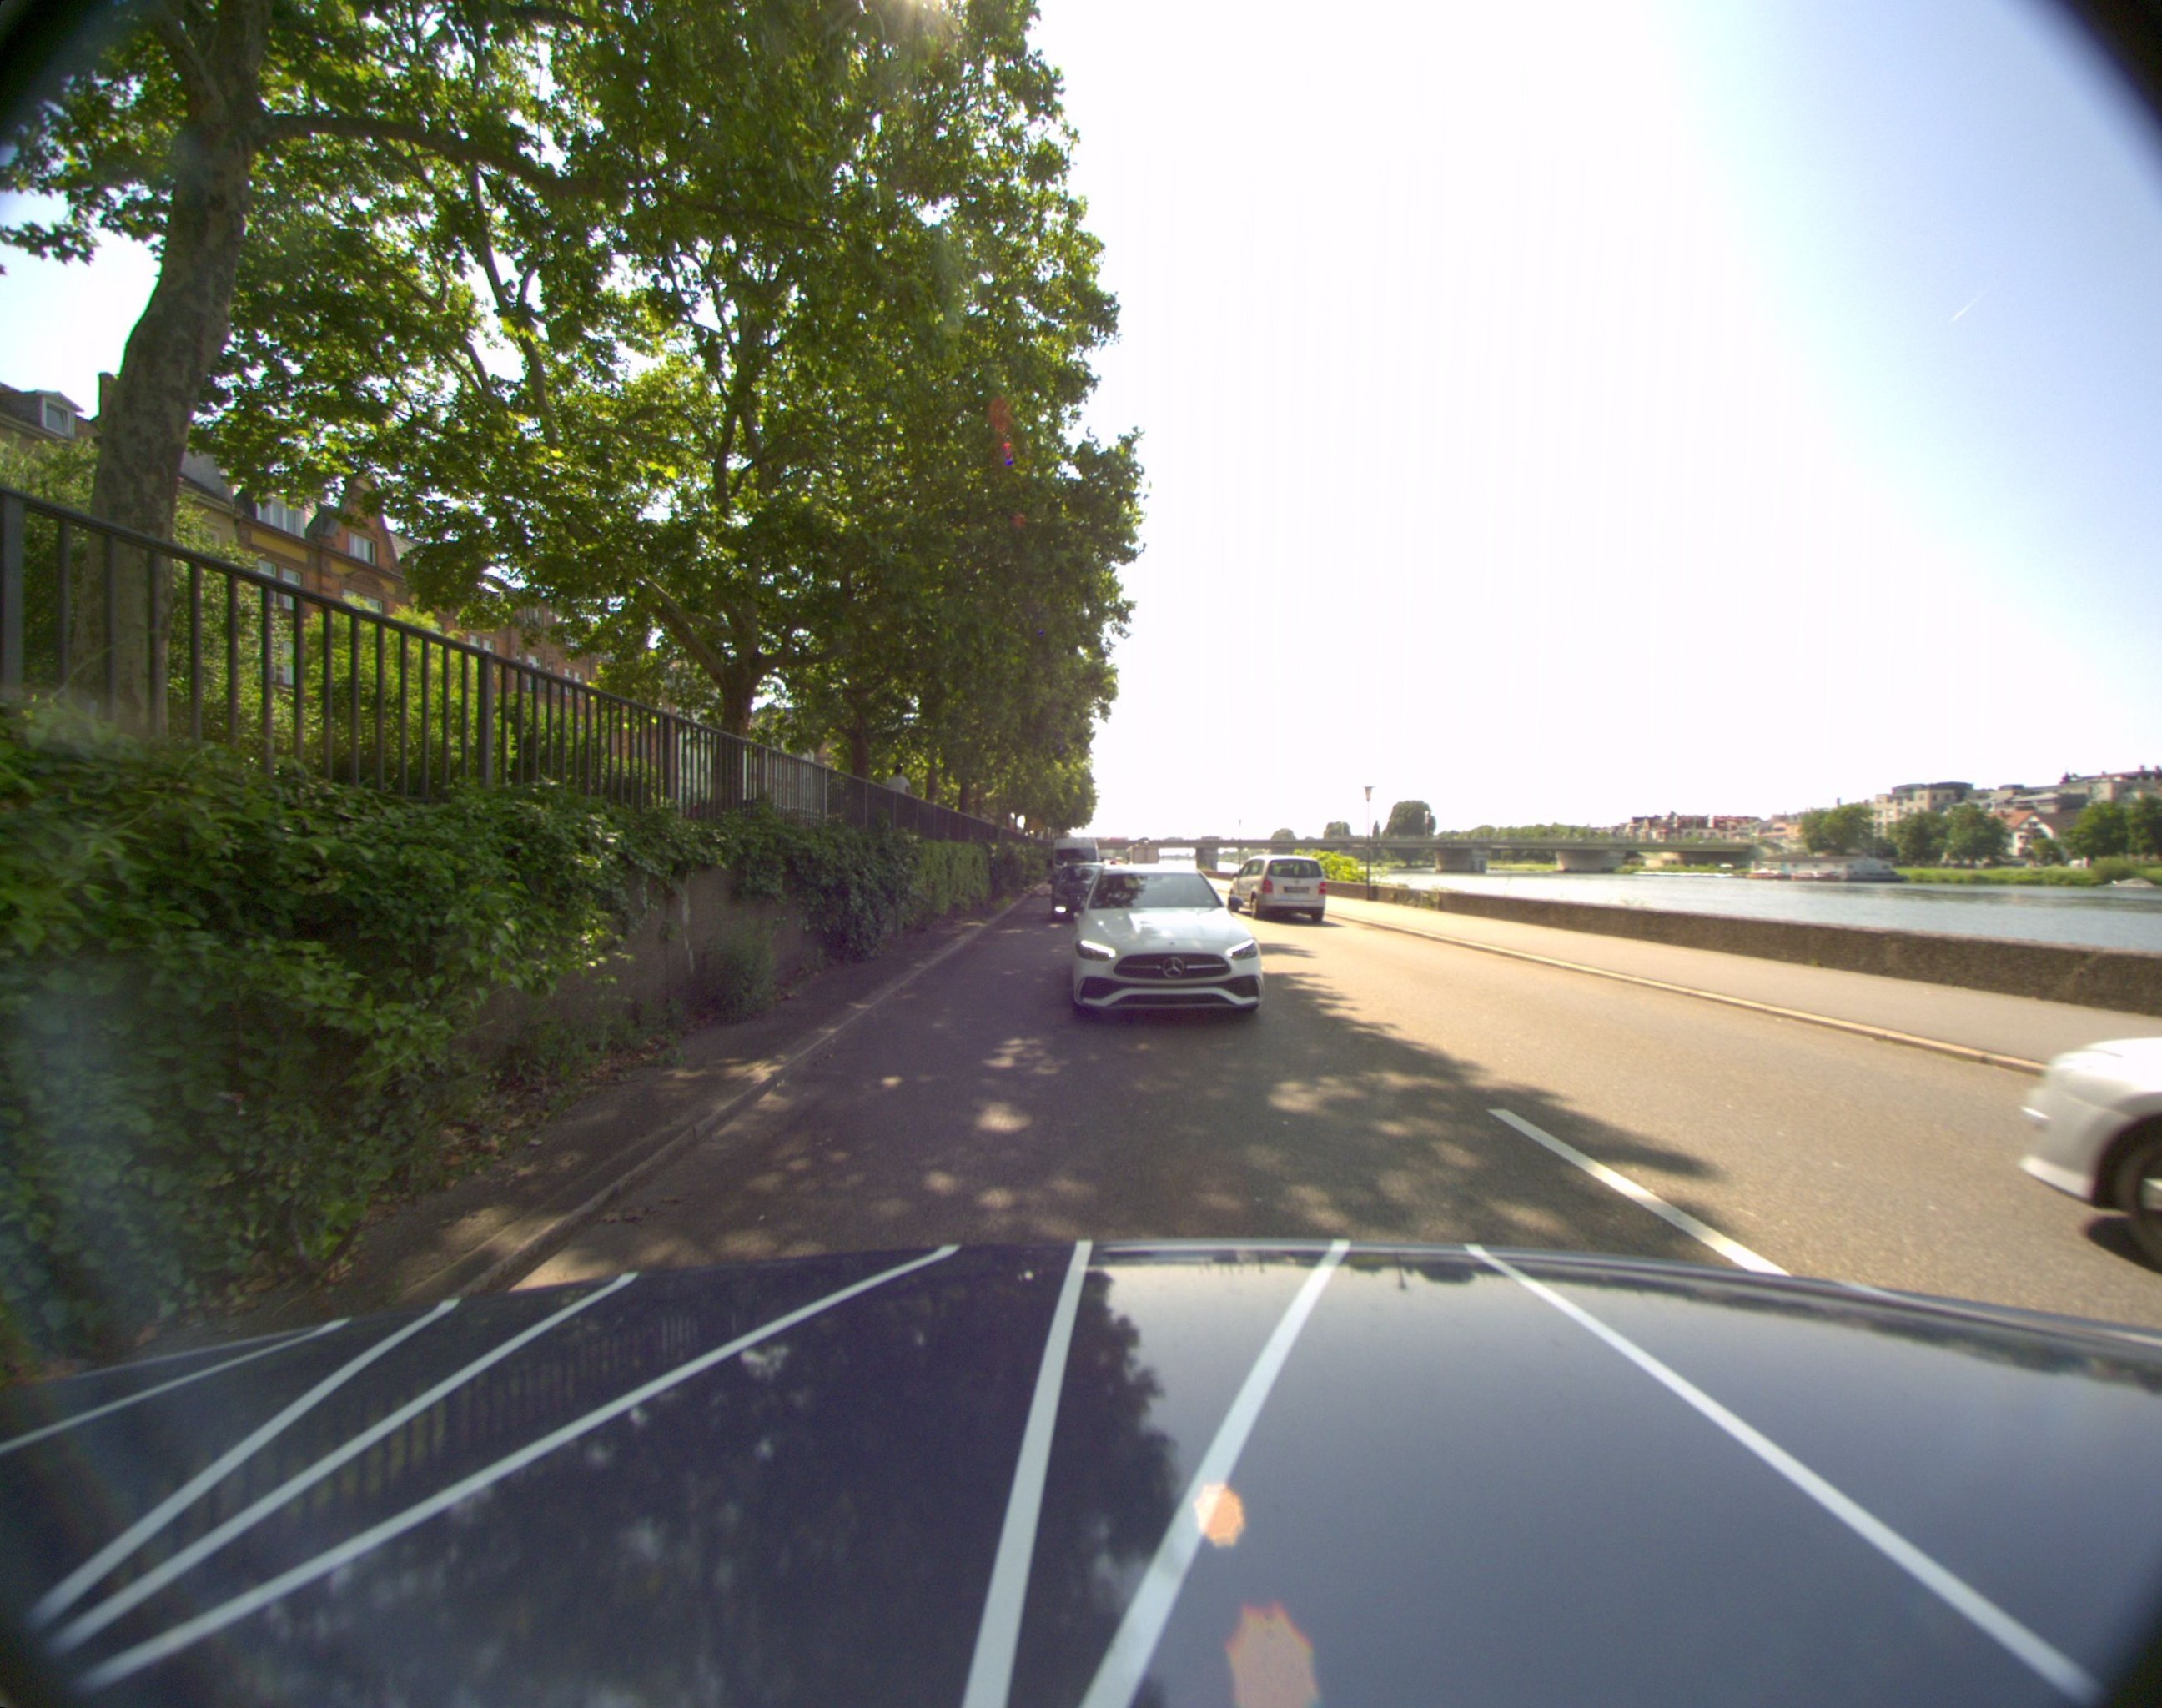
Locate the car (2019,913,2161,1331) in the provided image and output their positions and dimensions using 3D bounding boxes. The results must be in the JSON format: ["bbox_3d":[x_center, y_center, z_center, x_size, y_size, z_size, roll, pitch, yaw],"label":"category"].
[{"bbox_3d":[4.646,0.970,1.033,1.736,1.433,4.045,1,0,1],"label":"car"}]

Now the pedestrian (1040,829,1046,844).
[{"bbox_3d":[-4.120,-1.847,82.040,0.666,1.582,0.765,1,0,-1],"label":"pedestrian"}]

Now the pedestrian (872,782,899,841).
[{"bbox_3d":[-5.477,-1.183,21.338,0.649,1.630,0.626,0,0,-8],"label":"pedestrian"}]

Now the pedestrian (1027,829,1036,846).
[{"bbox_3d":[-4.568,-1.519,70.434,0.738,1.582,0.810,1,0,-1],"label":"pedestrian"}]

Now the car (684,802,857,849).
[{"bbox_3d":[-7.851,-0.706,19.461,3.741,1.108,1.650,0,0,-3],"label":"car"}]

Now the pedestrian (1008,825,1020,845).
[{"bbox_3d":[-4.339,-1.231,49.128,0.713,1.236,0.742,0,0,-1],"label":"pedestrian"}]

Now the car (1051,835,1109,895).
[{"bbox_3d":[-0.088,0.448,34.100,2.351,2.428,6.208,0,0,-1],"label":"car"}]

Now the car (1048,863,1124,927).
[{"bbox_3d":[0.088,1.015,20.580,1.756,1.385,4.619,-4,0,-1],"label":"car"}]

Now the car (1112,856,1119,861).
[{"bbox_3d":[9.558,1.172,211.227,1.677,1.433,3.901,1,0,0],"label":"car"}]

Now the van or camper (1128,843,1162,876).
[{"bbox_3d":[4.882,0.409,58.906,2.082,2.384,5.384,1,0,0],"label":"van or camper"}]

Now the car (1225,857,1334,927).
[{"bbox_3d":[5.161,0.913,20.338,1.736,1.640,4.177,1,0,-1],"label":"car"}]

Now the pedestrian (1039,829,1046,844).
[{"bbox_3d":[-4.119,-1.845,81.184,0.738,1.582,0.810,1,0,-1],"label":"pedestrian"}]

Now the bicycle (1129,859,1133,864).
[{"bbox_3d":[9.053,1.344,136.977,0.654,0.977,1.944,1,0,0],"label":"bicycle"}]

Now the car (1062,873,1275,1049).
[{"bbox_3d":[0.769,0.985,8.879,1.830,1.411,4.552,-1,0,0],"label":"car"}]

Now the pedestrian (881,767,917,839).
[{"bbox_3d":[-4.147,-1.140,17.321,0.666,1.582,0.651,1,0,-1],"label":"pedestrian"}]
